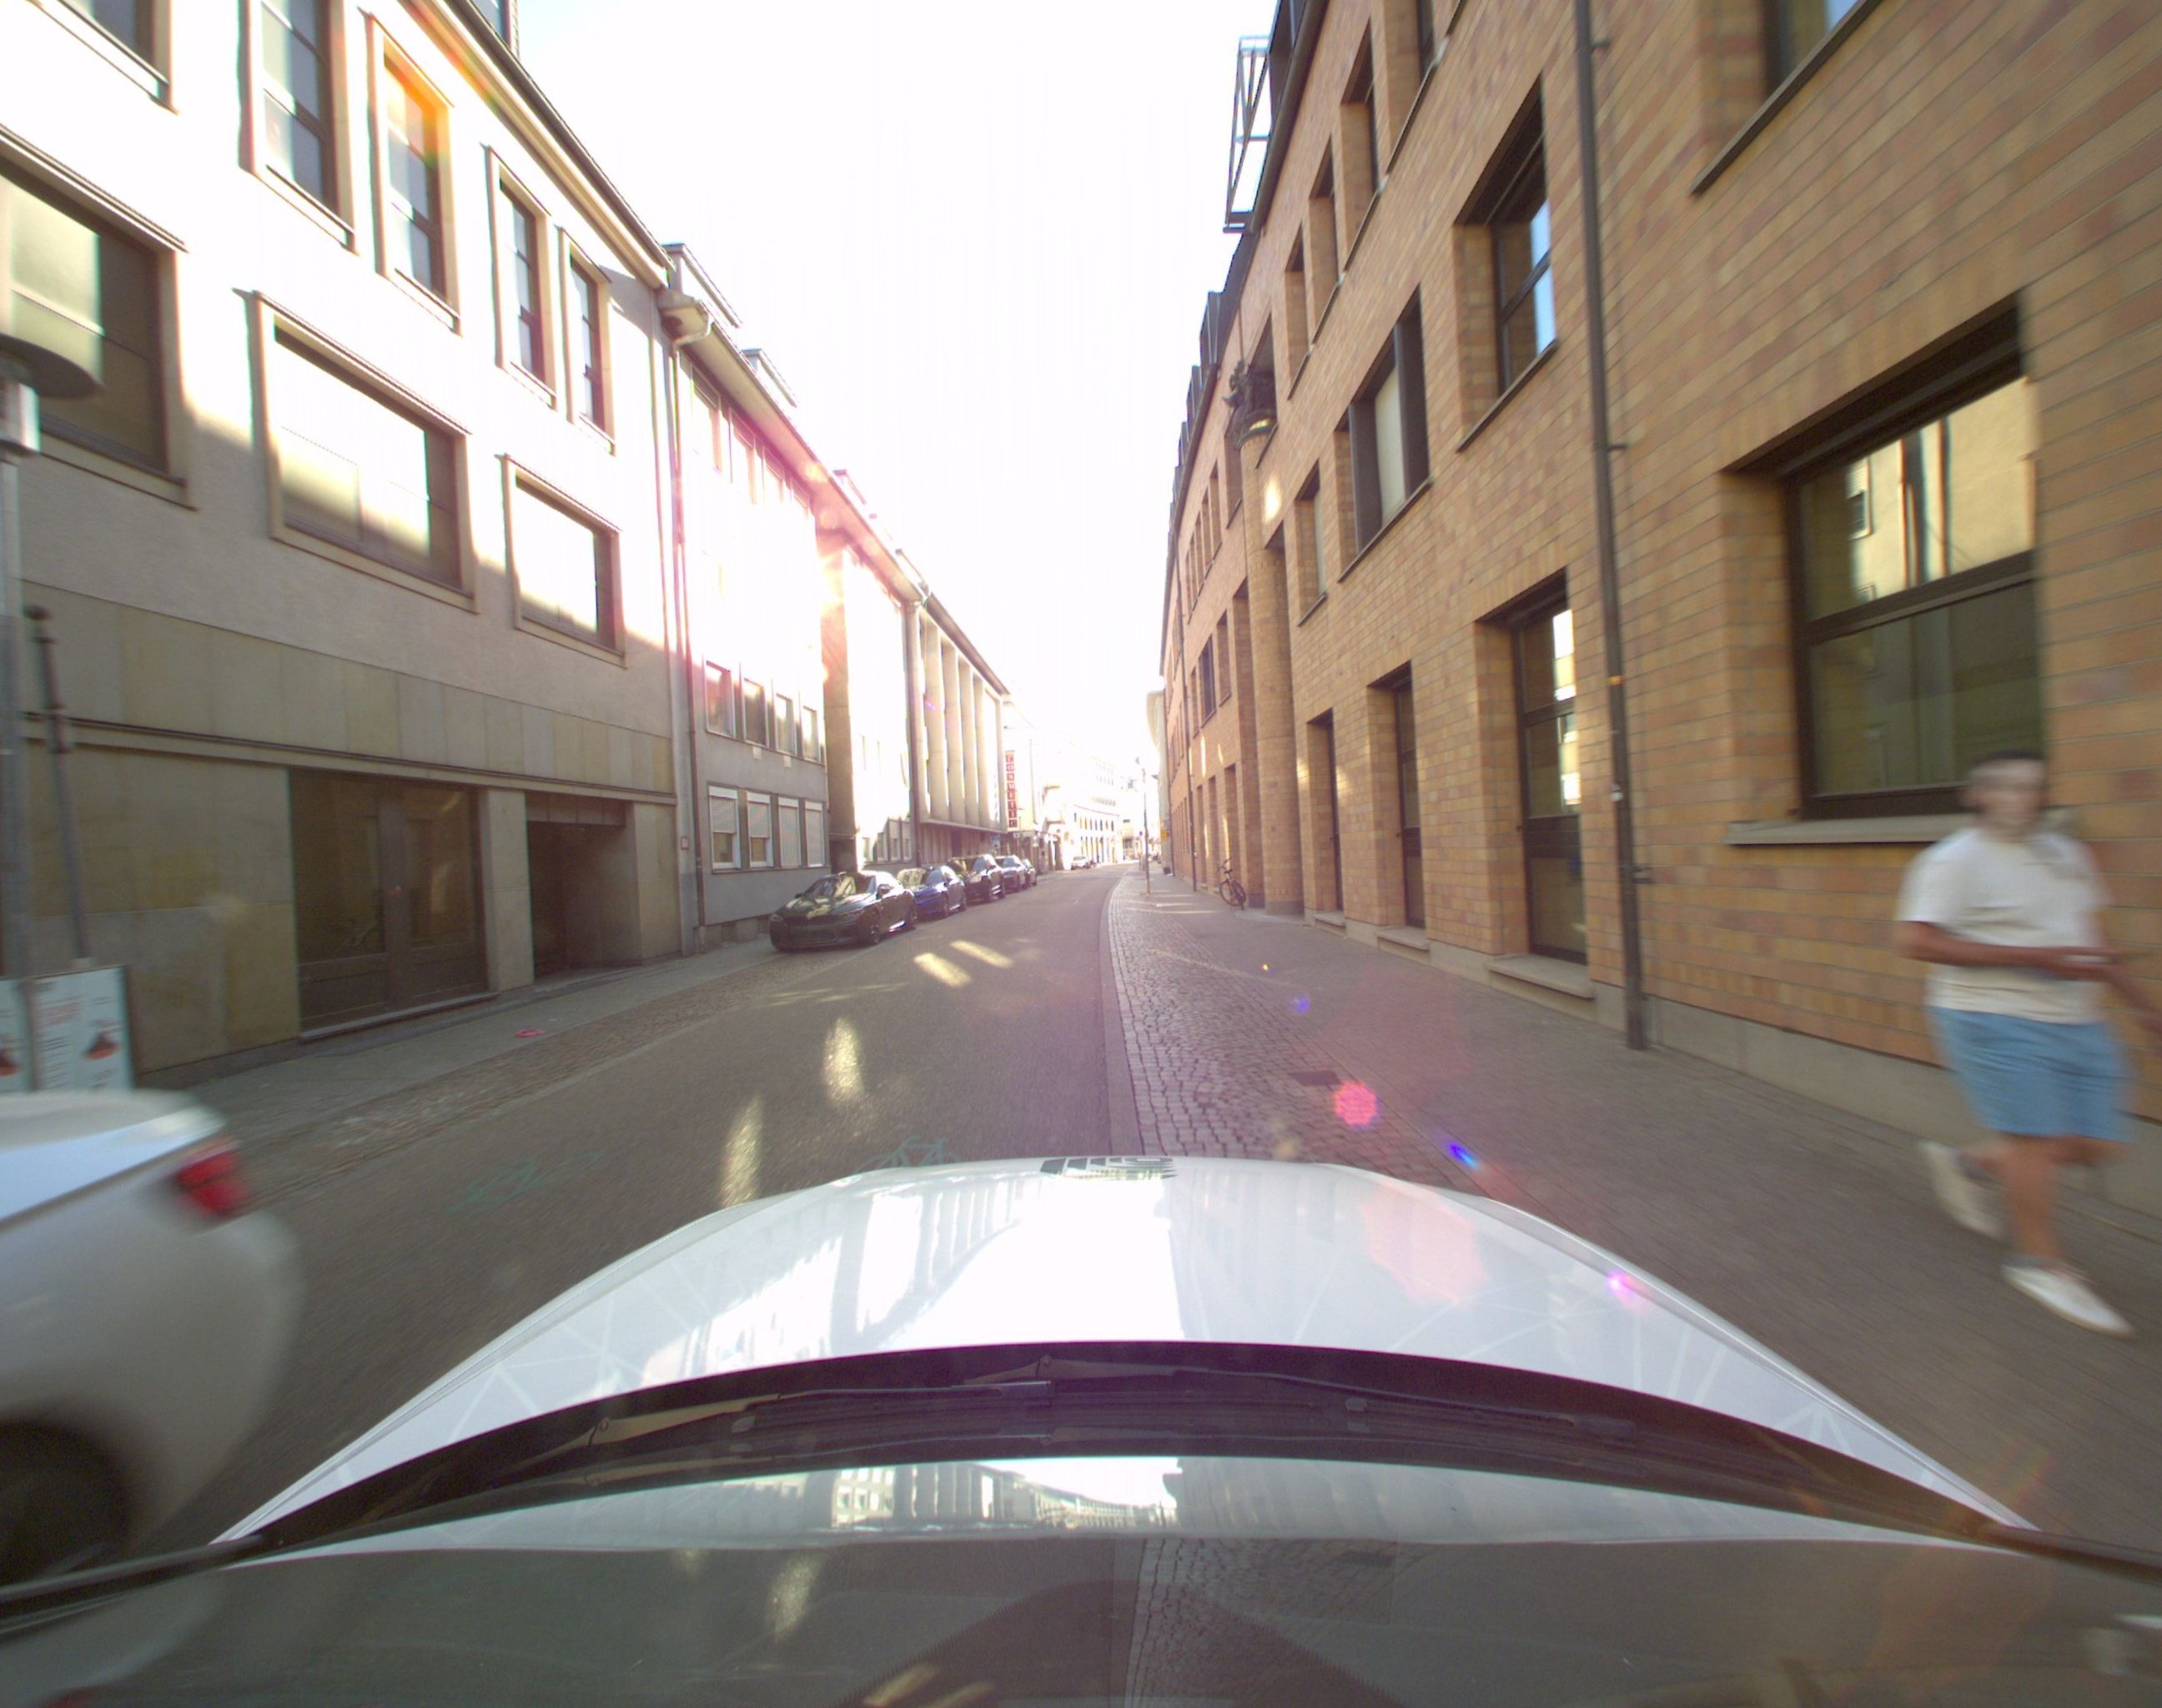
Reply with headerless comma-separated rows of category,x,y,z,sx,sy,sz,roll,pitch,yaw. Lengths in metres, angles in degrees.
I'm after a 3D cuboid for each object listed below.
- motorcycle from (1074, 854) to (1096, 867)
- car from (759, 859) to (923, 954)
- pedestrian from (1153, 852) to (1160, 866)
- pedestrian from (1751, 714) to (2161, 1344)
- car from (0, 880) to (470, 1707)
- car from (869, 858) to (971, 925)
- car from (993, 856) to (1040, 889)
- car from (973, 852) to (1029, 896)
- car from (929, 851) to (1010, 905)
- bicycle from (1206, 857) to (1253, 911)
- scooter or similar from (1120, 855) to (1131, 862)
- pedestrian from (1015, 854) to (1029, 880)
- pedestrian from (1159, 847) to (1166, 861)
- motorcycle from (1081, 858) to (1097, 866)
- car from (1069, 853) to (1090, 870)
motorcycle,0.464,0.729,93.126,2.380,1.317,0.863,-4,0,3
car,-4.764,0.958,16.963,1.883,1.530,4.729,-4,0,1
pedestrian,10.643,0.691,114.850,0.663,1.869,0.779,-1,-1,-26
pedestrian,2.985,0.471,2.678,0.758,1.716,0.821,-5,0,0
car,-2.598,0.892,0.150,1.709,1.517,4.160,-4,0,1
car,-4.395,0.971,22.955,1.884,1.530,4.340,-4,0,0
car,-3.247,0.907,41.608,1.641,1.460,4.003,-6,0,4
car,-3.516,0.833,36.610,1.883,1.742,4.391,-4,0,1
car,-3.873,0.783,29.140,1.881,1.675,4.559,-4,0,4
bicycle,3.383,0.660,18.741,0.548,1.103,1.981,-6,0,-2
scooter or similar,7.033,0.696,128.290,0.520,0.928,2.242,-2,0,34
pedestrian,-3.806,0.844,52.347,0.650,1.625,0.452,-3,0,-38
pedestrian,10.940,0.033,109.594,0.663,1.869,0.754,-1,-1,-26
motorcycle,0.908,0.906,89.492,1.681,0.859,0.596,-1,-1,8
car,-0.162,0.744,82.078,1.728,1.606,3.537,-2,0,5
